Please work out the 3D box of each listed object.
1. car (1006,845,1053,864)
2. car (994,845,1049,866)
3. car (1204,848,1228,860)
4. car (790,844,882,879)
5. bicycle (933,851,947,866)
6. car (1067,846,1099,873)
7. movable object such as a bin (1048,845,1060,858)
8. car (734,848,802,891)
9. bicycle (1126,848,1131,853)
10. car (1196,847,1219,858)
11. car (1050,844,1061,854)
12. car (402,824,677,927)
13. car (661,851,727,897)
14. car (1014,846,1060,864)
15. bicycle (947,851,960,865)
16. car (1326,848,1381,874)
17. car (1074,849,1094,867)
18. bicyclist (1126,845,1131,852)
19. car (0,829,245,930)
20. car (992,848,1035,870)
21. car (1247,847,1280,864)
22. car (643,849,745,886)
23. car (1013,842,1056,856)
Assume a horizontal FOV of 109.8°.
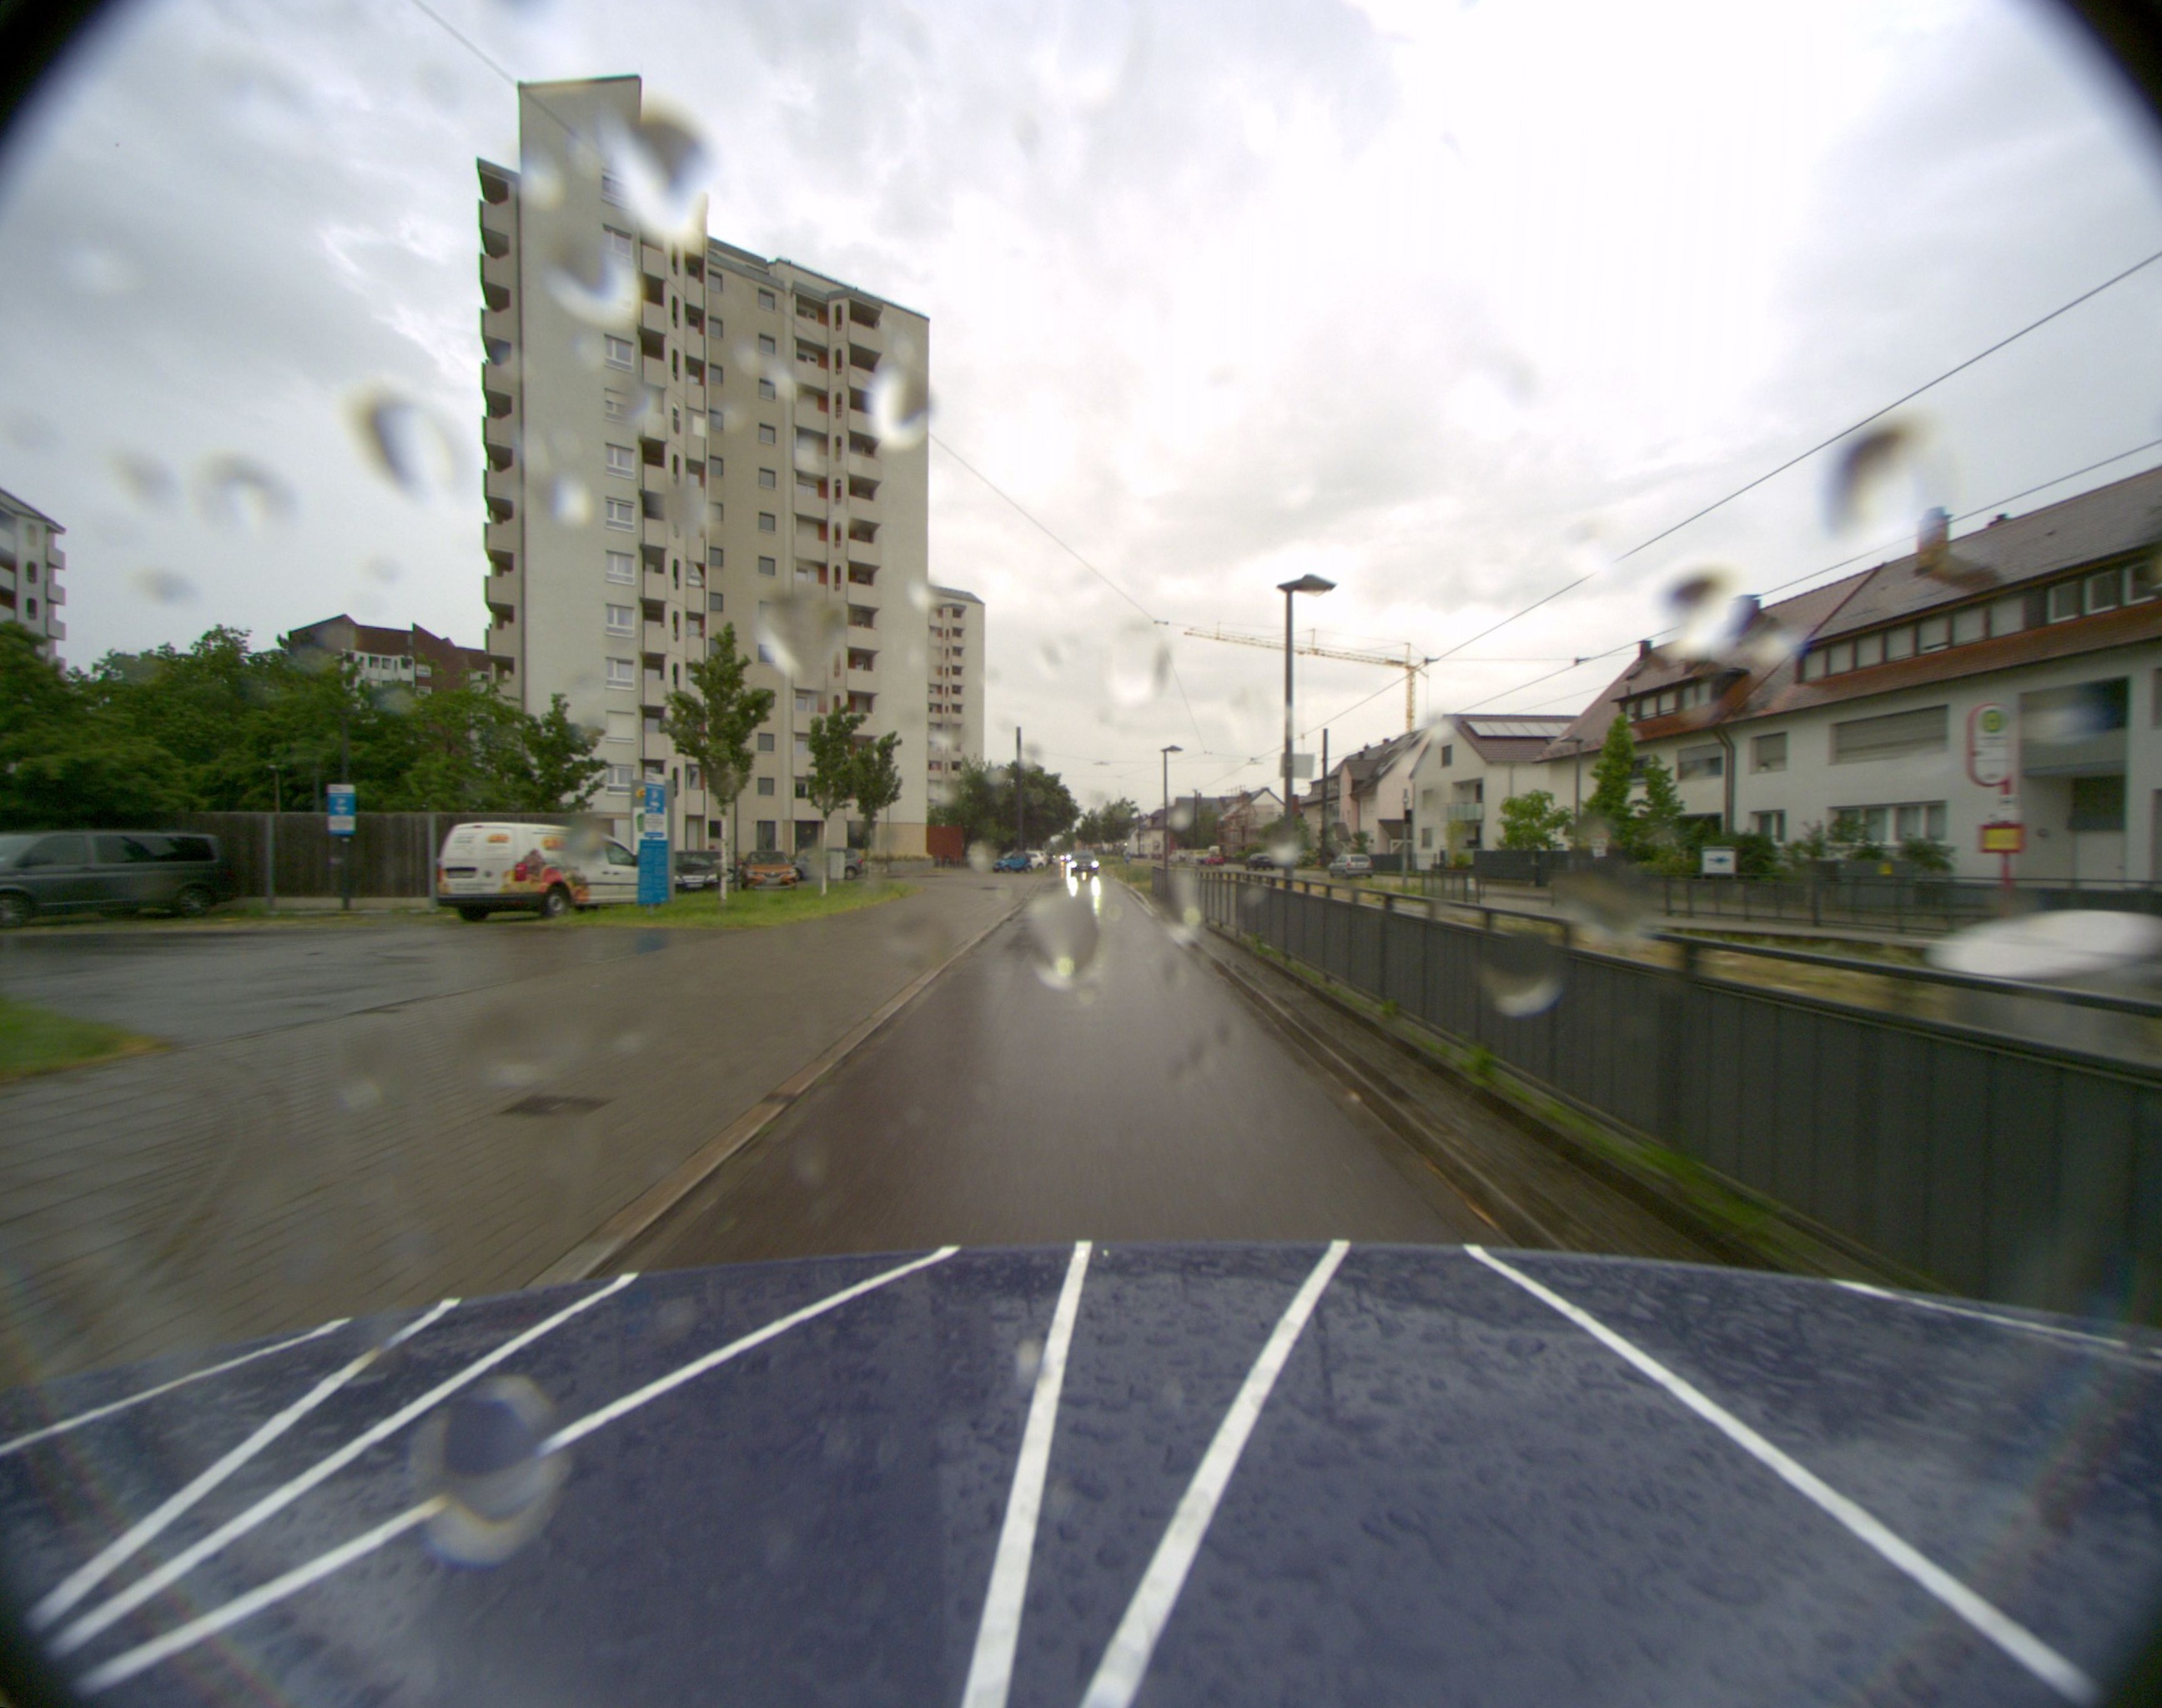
[{"bbox_3d":[-5.267,0.056,77.439,4.471,1.662,1.807,3,0,-39],"label":"car"},{"bbox_3d":[-4.887,0.159,62.730,4.195,1.539,1.760,3,-1,-40],"label":"car"},{"bbox_3d":[15.873,-0.027,89.396,1.999,1.365,3.841,-1,2,-2],"label":"car"},{"bbox_3d":[-12.512,0.375,38.858,4.119,1.607,1.811,-2,1,-31],"label":"car"},{"bbox_3d":[-10.764,0.336,58.153,0.663,1.000,2.057,-1,2,0],"label":"bicycle"},{"bbox_3d":[0.070,0.346,50.501,1.999,1.611,3.998,-1,2,-1],"label":"car"},{"bbox_3d":[-3.553,-0.339,99.936,1.165,1.553,1.372,-2,2,-24],"label":"movable object such as a bin"},{"bbox_3d":[-12.055,0.540,29.099,2.003,1.433,3.990,-2,2,-28],"label":"car"},{"bbox_3d":[11.375,-0.787,182.014,0.937,1.037,3.432,0,1,-3],"label":"bicycle"},{"bbox_3d":[15.812,-0.173,94.932,1.999,1.401,4.174,-1,0,-2],"label":"car"},{"bbox_3d":[-4.695,-0.940,140.270,1.998,1.696,3.999,-1,2,0],"label":"car"},{"bbox_3d":[-10.741,0.373,15.682,1.968,1.773,4.897,-1,0,3],"label":"car"},{"bbox_3d":[-14.320,0.674,28.110,2.003,1.433,3.990,-2,2,-28],"label":"car"},{"bbox_3d":[-4.335,0.116,75.194,4.195,1.662,1.680,3,0,-38],"label":"car"},{"bbox_3d":[-9.763,0.268,58.101,0.663,1.000,2.057,-1,2,0],"label":"bicycle"},{"bbox_3d":[16.726,0.413,46.858,1.999,1.406,3.656,-1,2,-2],"label":"car"},{"bbox_3d":[0.329,0.421,80.168,1.998,1.762,3.999,-1,2,0],"label":"car"},{"bbox_3d":[11.342,-1.259,182.461,0.956,1.575,1.399,-1,2,-2],"label":"bicyclist"},{"bbox_3d":[-20.958,0.480,15.681,1.968,1.858,4.780,-1,0,3],"label":"car"},{"bbox_3d":[-4.722,0.329,53.406,2.570,1.539,1.598,-1,2,-40],"label":"car"},{"bbox_3d":[16.385,0.144,68.573,1.841,1.418,4.173,-1,0,-2],"label":"car"},{"bbox_3d":[-18.051,0.592,35.497,4.119,1.524,1.811,-2,1,-31],"label":"car"},{"bbox_3d":[-5.069,-0.541,83.867,4.470,1.420,1.680,3,0,-34],"label":"car"}]
